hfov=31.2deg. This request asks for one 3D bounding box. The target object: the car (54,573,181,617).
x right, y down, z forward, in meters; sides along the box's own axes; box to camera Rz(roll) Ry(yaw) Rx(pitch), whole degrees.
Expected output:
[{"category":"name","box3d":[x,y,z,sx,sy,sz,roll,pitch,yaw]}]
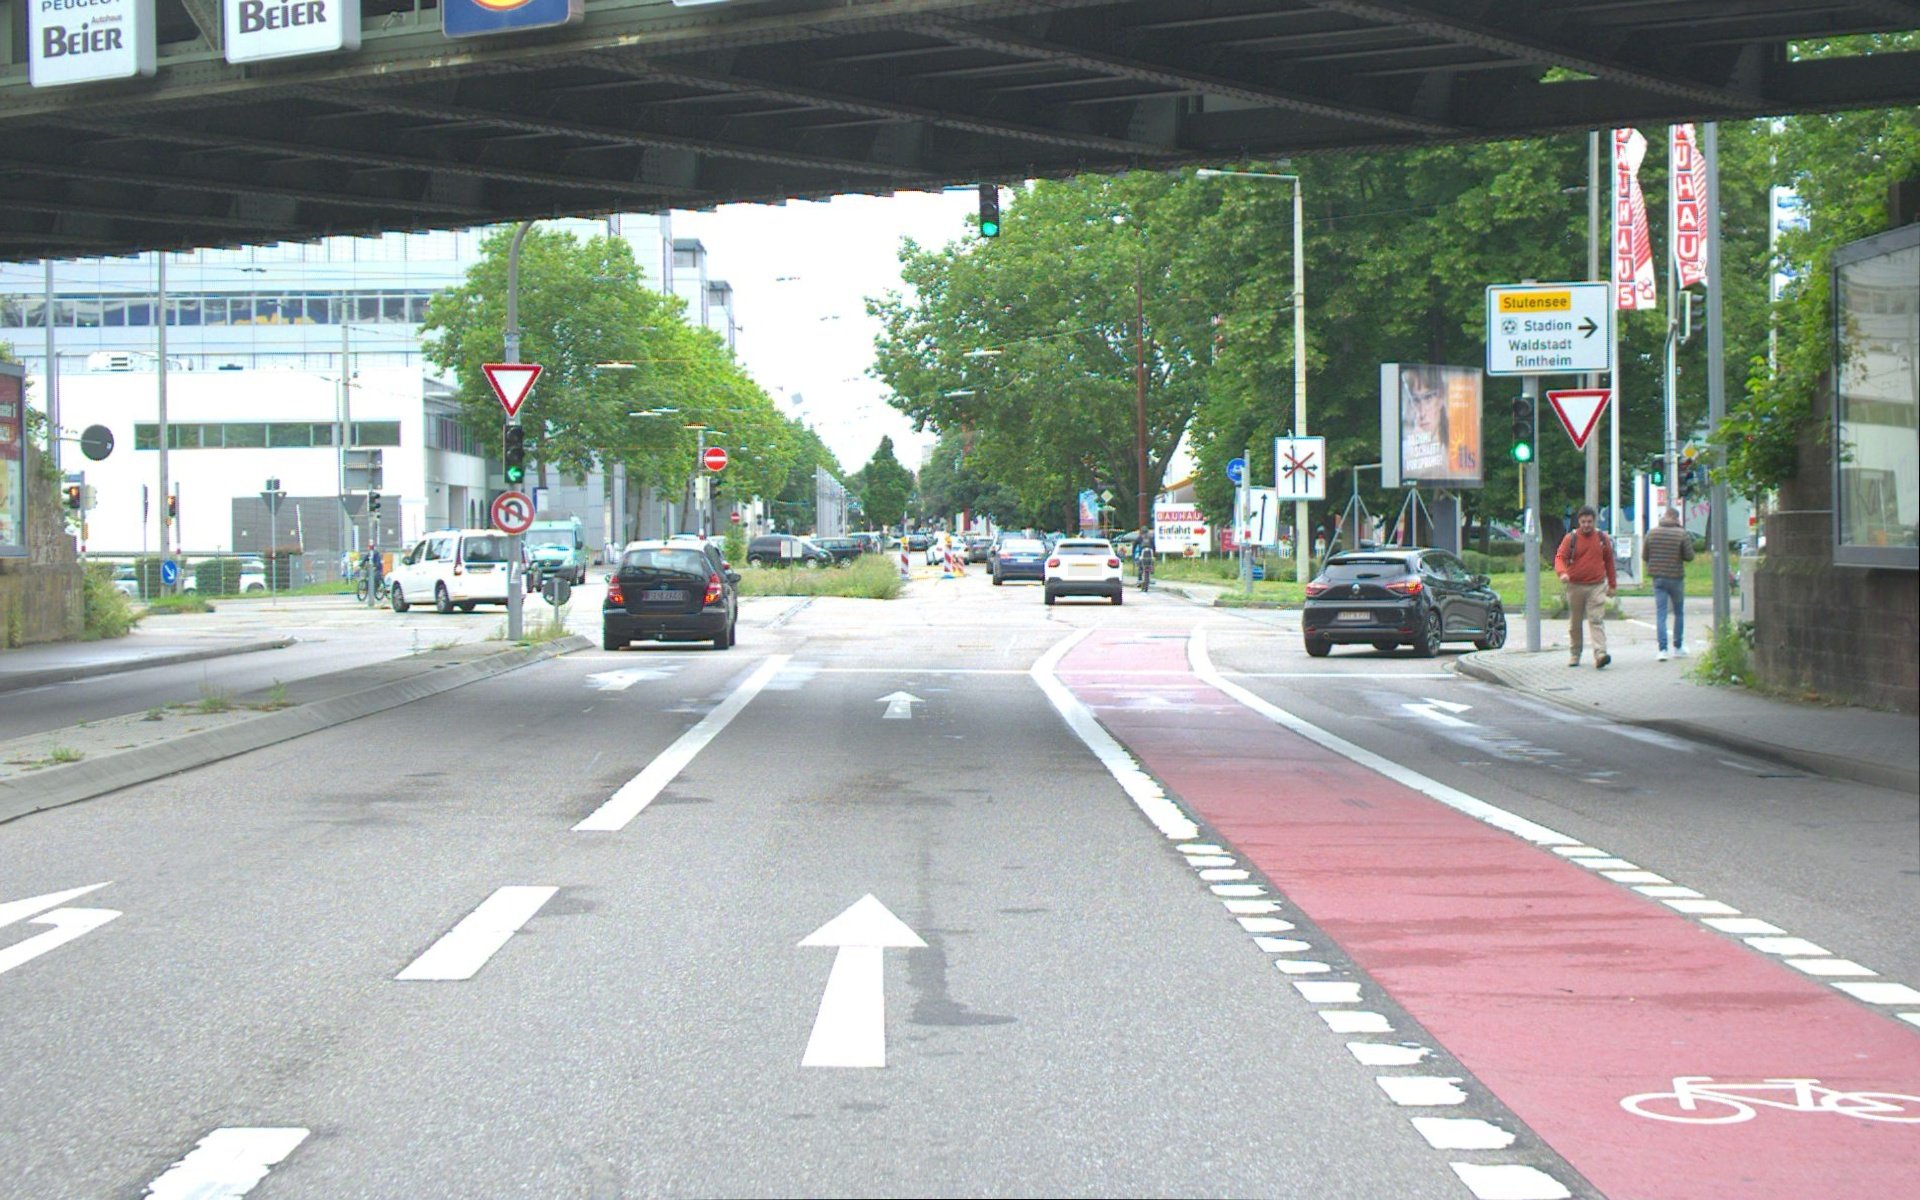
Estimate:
[{"category":"car","box3d":[-31.211,-0.204,127.418,4.211,1.527,1.913,-1,1,1]}]

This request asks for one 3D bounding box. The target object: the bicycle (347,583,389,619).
[{"category":"bicycle","box3d":[-18.393,0.018,106.833,0.645,1.058,2.000,1,2,10]}]

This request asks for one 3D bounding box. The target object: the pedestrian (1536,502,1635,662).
[{"category":"pedestrian","box3d":[6.969,-0.210,38.331,0.871,1.753,0.788,-1,1,-9]}]

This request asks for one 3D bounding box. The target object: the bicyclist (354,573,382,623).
[{"category":"bicyclist","box3d":[-18.397,-0.068,106.811,0.645,1.513,0.626,1,2,10]}]

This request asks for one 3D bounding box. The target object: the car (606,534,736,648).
[{"category":"car","box3d":[-4.124,-0.155,49.365,1.768,1.522,3.670,1,2,-4]}]

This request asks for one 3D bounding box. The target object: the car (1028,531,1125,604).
[{"category":"car","box3d":[2.645,-0.764,78.863,1.823,1.595,3.776,1,2,-4]}]

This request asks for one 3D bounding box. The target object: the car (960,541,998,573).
[{"category":"car","box3d":[1.010,-2.328,185.631,1.877,1.627,4.001,-1,1,-2]}]

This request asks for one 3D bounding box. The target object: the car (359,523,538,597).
[{"category":"car","box3d":[-11.337,-0.905,75.956,1.962,1.522,5.010,0,2,-33]}]

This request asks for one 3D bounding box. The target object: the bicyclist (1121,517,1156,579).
[{"category":"bicyclist","box3d":[4.749,-1.376,91.301,0.816,1.624,1.235,-1,1,-1]}]

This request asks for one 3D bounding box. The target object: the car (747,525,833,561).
[{"category":"car","box3d":[-7.740,-2.594,156.755,3.883,1.550,1.825,1,1,-1]}]

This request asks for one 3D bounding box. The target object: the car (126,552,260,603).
[{"category":"car","box3d":[-23.853,-0.707,106.890,3.660,1.522,1.773,-1,1,18]}]

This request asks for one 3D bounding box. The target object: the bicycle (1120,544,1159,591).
[{"category":"bicycle","box3d":[4.760,-0.869,91.313,0.816,1.208,2.683,-1,1,-1]}]

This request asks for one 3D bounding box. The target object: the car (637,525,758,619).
[{"category":"car","box3d":[-4.900,-0.540,63.888,1.772,1.647,3.671,0,2,-12]}]

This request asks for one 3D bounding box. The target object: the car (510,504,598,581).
[{"category":"car","box3d":[-15.146,-2.153,128.670,2.328,2.816,5.949,-1,1,2]}]

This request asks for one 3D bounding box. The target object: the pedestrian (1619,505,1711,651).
[{"category":"pedestrian","box3d":[7.972,-0.257,38.872,0.743,1.634,0.777,1,1,40]}]

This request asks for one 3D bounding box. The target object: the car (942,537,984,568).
[{"category":"car","box3d":[0.142,-2.382,171.785,1.795,1.508,3.706,1,2,-4]}]

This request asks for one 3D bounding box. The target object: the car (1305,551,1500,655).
[{"category":"car","box3d":[5.900,0.013,45.535,1.649,1.276,3.415,1,2,24]}]

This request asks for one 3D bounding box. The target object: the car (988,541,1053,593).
[{"category":"car","box3d":[1.851,-1.031,106.201,1.684,1.508,3.706,1,2,-4]}]

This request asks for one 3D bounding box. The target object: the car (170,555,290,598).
[{"category":"car","box3d":[-29.792,-0.960,140.368,4.526,1.628,1.913,-1,1,-3]}]
